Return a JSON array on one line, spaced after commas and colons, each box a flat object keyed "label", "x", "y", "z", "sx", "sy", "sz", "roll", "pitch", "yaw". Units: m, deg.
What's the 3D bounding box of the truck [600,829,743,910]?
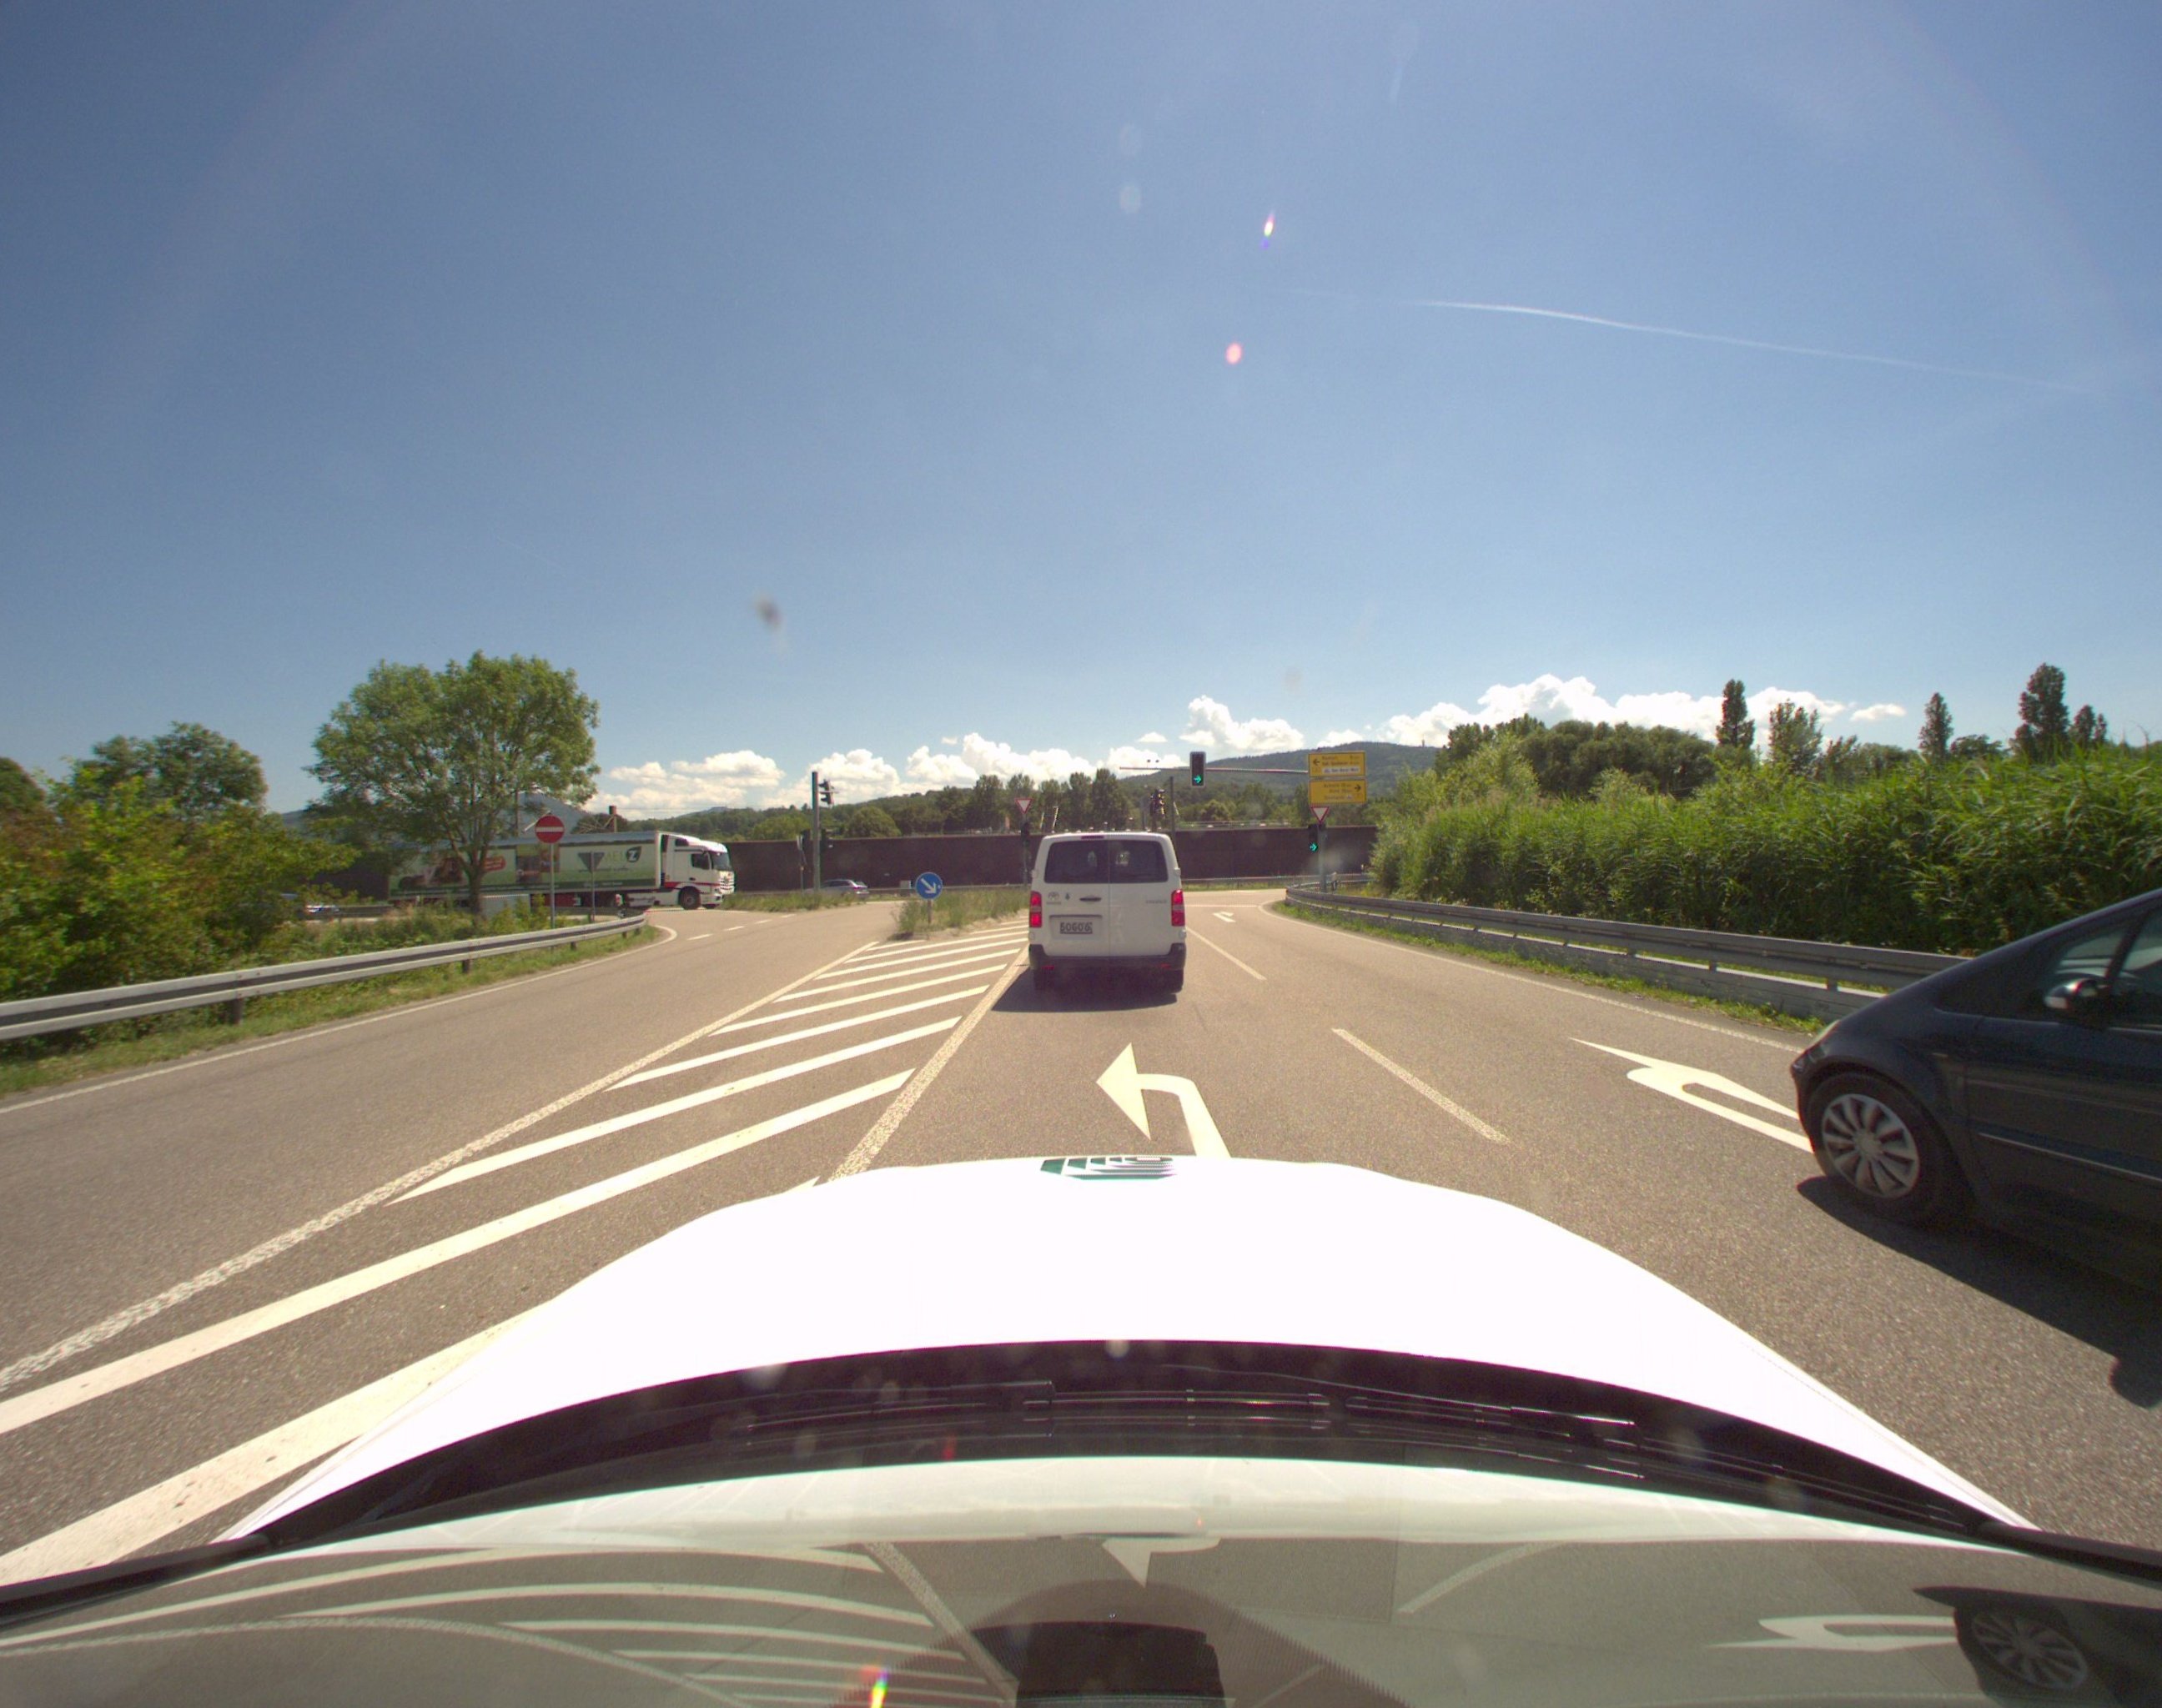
[{"label": "truck", "x": -21.009, "y": 0.792, "z": 42.027, "sx": 5.746, "sy": 3.954, "sz": 3.061, "roll": -1, "pitch": -1, "yaw": 0}]

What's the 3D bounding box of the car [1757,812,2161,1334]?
[{"label": "car", "x": 4.138, "y": 0.657, "z": 2.182, "sx": 1.663, "sy": 1.600, "sz": 3.552, "roll": -1, "pitch": -1, "yaw": -1}]

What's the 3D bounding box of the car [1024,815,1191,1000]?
[{"label": "car", "x": 0.347, "y": 0.620, "z": 11.005, "sx": 1.808, "sy": 2.018, "sz": 4.001, "roll": -1, "pitch": -1, "yaw": 2}]

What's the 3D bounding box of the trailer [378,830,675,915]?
[{"label": "trailer", "x": -28.267, "y": 0.921, "z": 41.962, "sx": 13.099, "sy": 3.954, "sz": 3.061, "roll": -1, "pitch": -1, "yaw": 0}]

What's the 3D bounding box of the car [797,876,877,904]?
[{"label": "car", "x": -14.290, "y": 2.082, "z": 47.784, "sx": 3.960, "sy": 1.552, "sz": 2.007, "roll": -1, "pitch": -1, "yaw": 12}]

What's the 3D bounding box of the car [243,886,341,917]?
[{"label": "car", "x": -40.449, "y": 2.422, "z": 41.798, "sx": 3.462, "sy": 1.464, "sz": 1.554, "roll": -1, "pitch": -1, "yaw": 0}]
